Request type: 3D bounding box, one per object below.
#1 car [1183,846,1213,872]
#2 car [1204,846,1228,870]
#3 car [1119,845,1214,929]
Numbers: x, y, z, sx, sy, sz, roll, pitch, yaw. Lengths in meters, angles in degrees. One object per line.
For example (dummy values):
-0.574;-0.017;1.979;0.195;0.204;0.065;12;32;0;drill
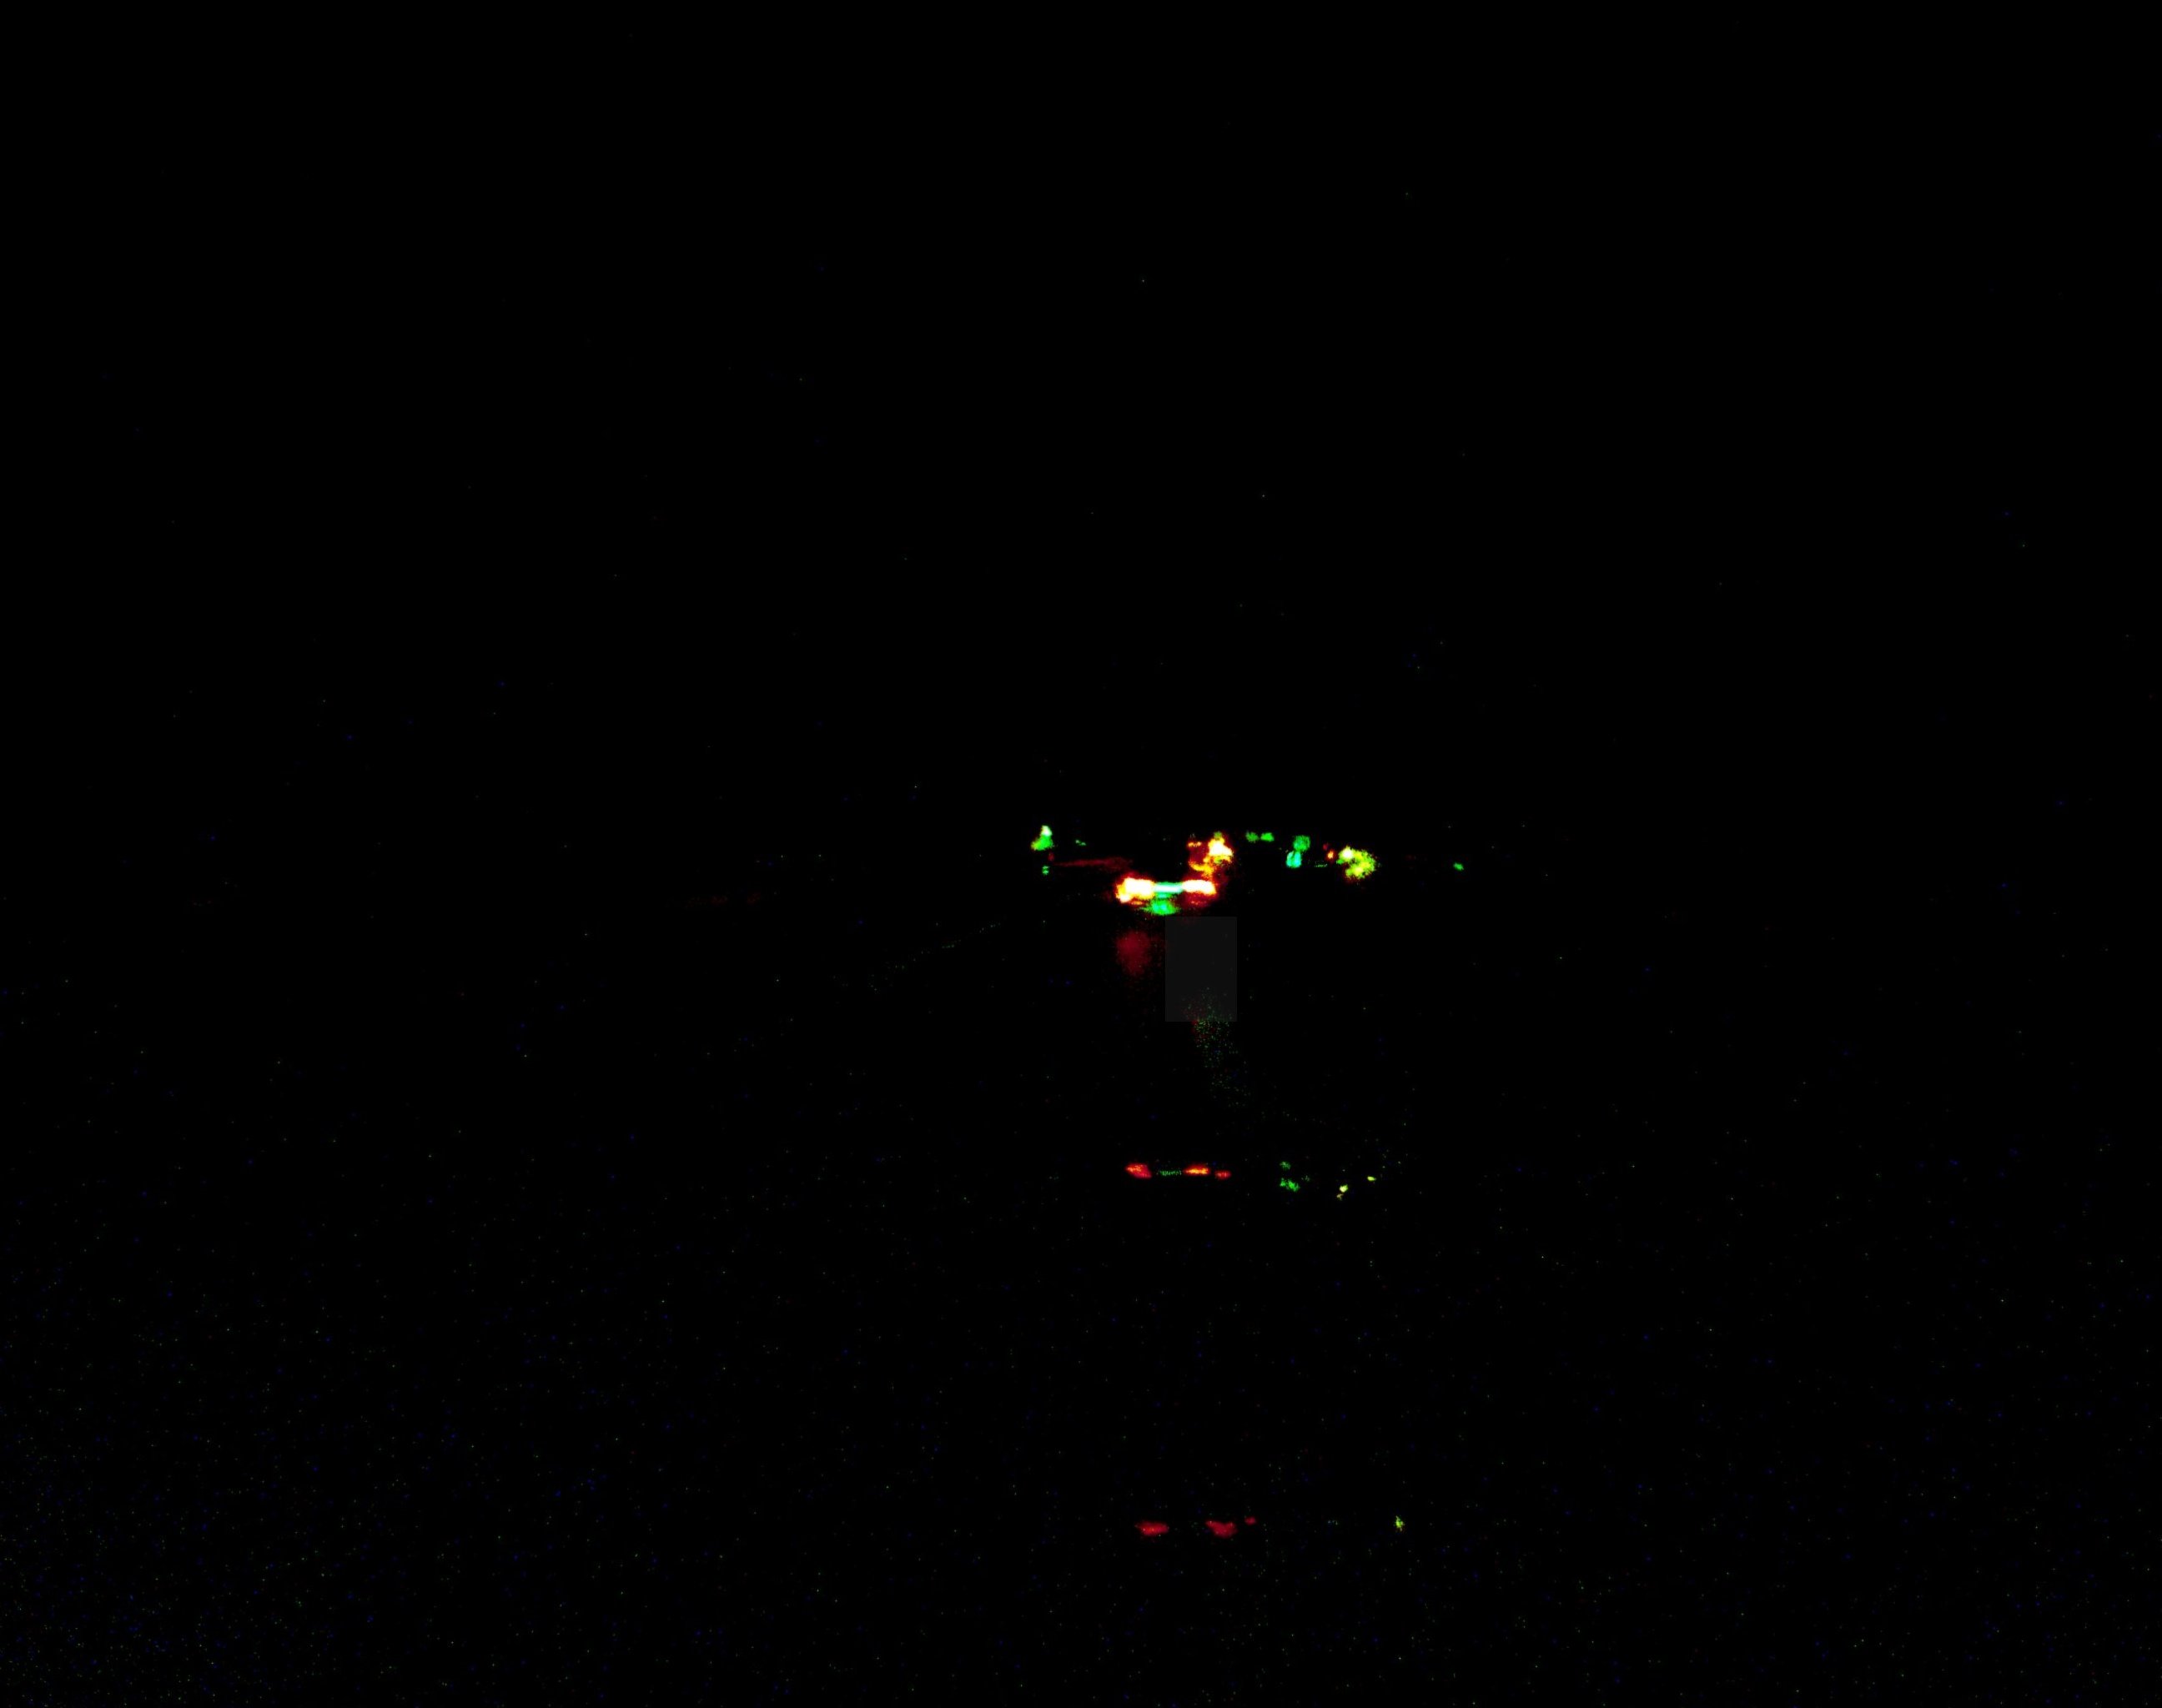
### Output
8.231;0.401;57.156;1.883;1.721;4.057;-1;-1;10;car
12.040;0.425;72.561;1.883;2.040;4.058;-1;-1;11;car
1.804;0.636;17.962;1.852;1.647;4.073;0;0;4;car
